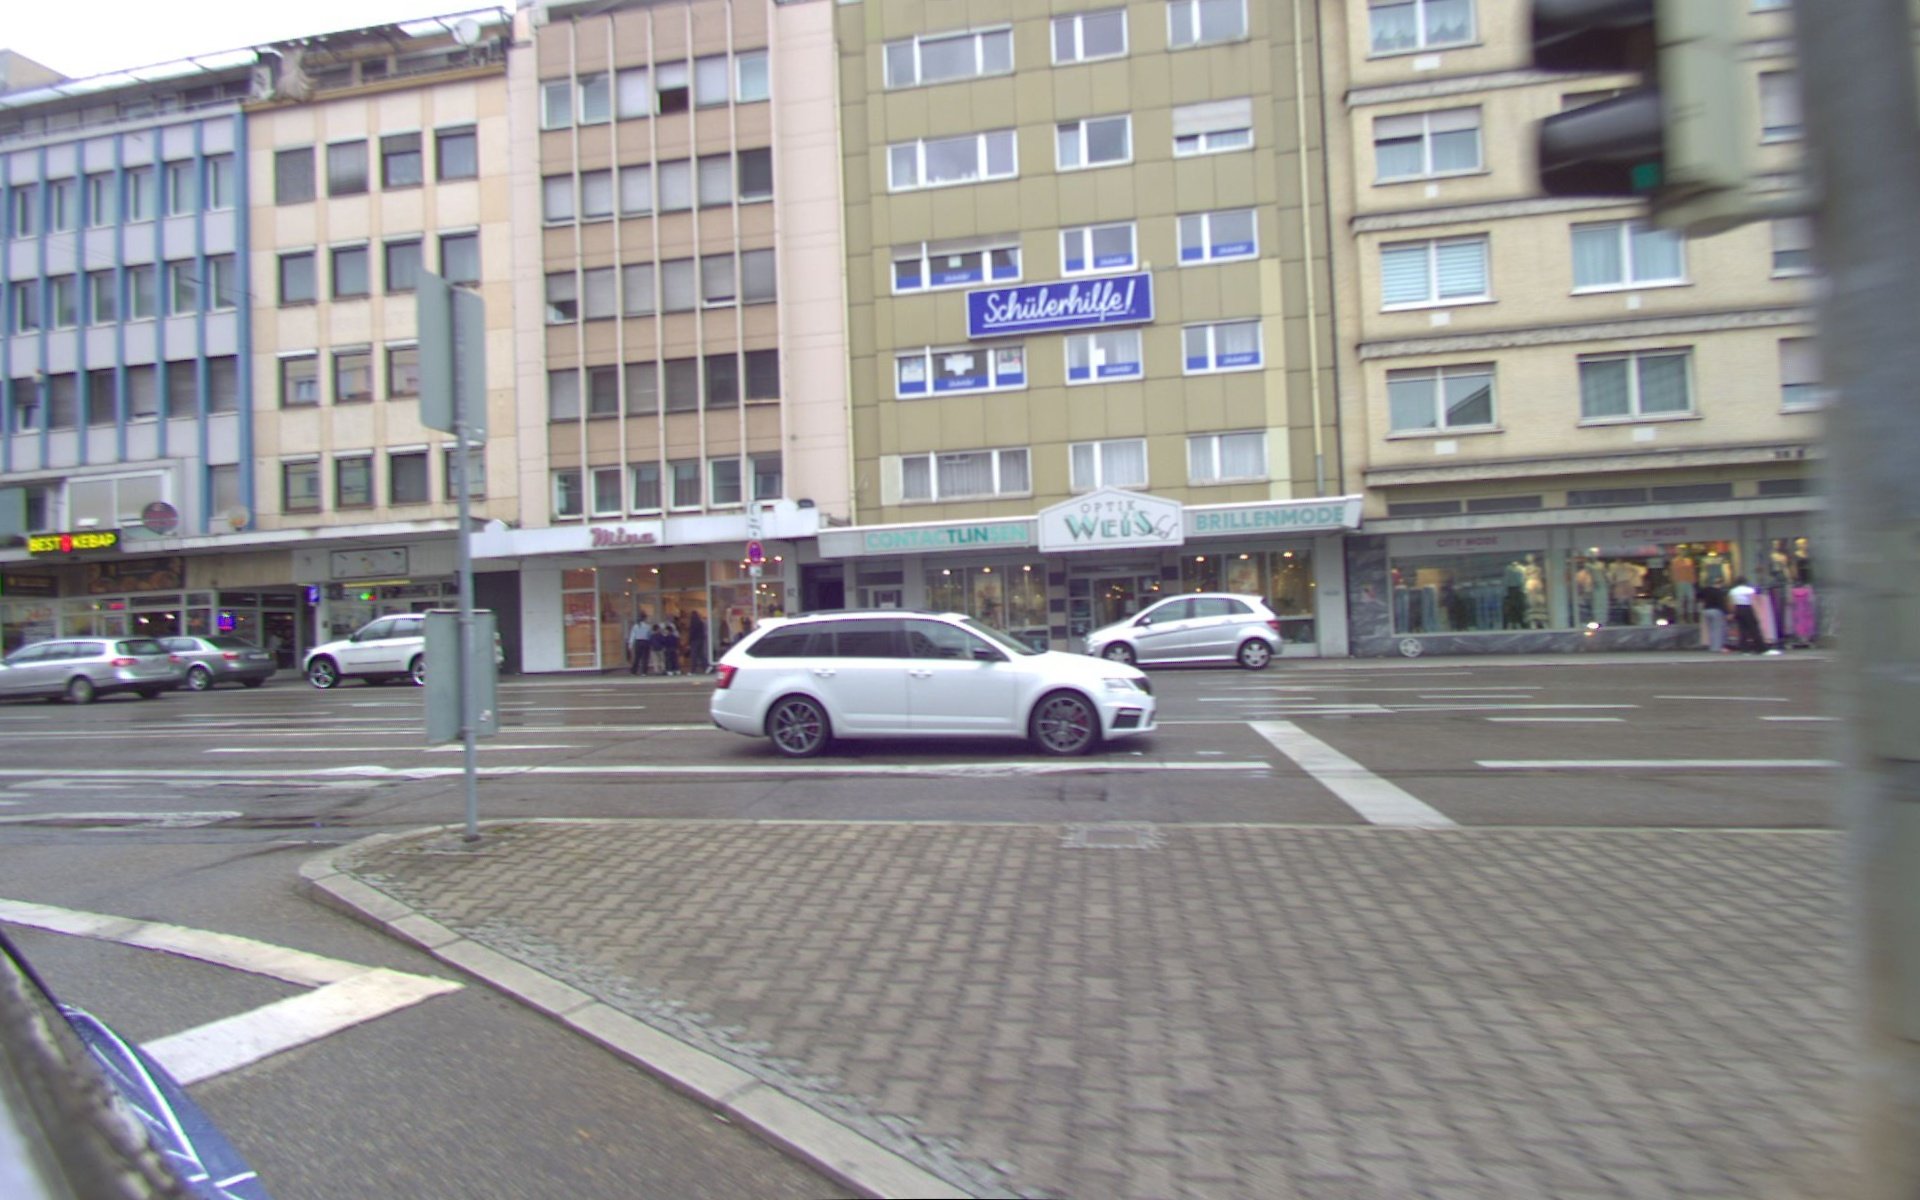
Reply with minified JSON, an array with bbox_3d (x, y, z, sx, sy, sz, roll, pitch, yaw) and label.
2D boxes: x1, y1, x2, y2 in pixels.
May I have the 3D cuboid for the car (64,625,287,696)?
[{"bbox_3d":[-20.301,1.550,26.253,4.828,1.620,1.864,-2,-1,11],"label":"car"}]

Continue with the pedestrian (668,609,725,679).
[{"bbox_3d":[-6.769,1.111,26.026,1.074,1.708,0.952,-3,0,9],"label":"pedestrian"}]

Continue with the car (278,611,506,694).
[{"bbox_3d":[-14.026,1.278,25.074,4.911,1.841,1.849,-2,-1,11],"label":"car"}]

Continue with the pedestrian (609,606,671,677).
[{"bbox_3d":[-8.213,1.063,26.005,1.085,1.727,0.946,-3,0,26],"label":"pedestrian"}]

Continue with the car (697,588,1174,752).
[{"bbox_3d":[-0.192,0.708,10.520,4.580,1.426,1.792,-2,-1,10],"label":"car"}]

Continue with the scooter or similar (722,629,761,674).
[{"bbox_3d":[-5.387,1.265,24.991,0.693,1.062,0.737,-2,0,9],"label":"scooter or similar"}]

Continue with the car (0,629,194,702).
[{"bbox_3d":[-20.350,1.497,23.148,4.700,1.456,1.786,-2,-1,9],"label":"car"}]

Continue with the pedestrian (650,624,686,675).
[{"bbox_3d":[-7.619,1.295,26.424,0.712,1.259,0.535,-3,0,9],"label":"pedestrian"}]

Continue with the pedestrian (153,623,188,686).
[{"bbox_3d":[-22.520,1.551,28.874,0.578,1.721,0.445,-3,0,11],"label":"pedestrian"}]

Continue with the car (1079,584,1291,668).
[{"bbox_3d":[4.689,0.547,21.397,4.158,1.575,1.699,-2,-1,12],"label":"car"}]

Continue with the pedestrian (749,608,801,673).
[{"bbox_3d":[-4.535,0.989,24.850,1.053,1.495,0.667,-3,0,9],"label":"pedestrian"}]

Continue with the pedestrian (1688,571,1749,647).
[{"bbox_3d":[16.035,0.187,21.407,0.673,1.548,0.785,-2,0,8],"label":"pedestrian"}]

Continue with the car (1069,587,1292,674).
[{"bbox_3d":[4.593,0.621,21.522,4.351,1.562,1.848,-3,1,10],"label":"car"}]

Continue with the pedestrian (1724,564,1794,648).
[{"bbox_3d":[16.019,0.120,20.298,0.762,1.640,0.848,-2,0,-33],"label":"pedestrian"}]
